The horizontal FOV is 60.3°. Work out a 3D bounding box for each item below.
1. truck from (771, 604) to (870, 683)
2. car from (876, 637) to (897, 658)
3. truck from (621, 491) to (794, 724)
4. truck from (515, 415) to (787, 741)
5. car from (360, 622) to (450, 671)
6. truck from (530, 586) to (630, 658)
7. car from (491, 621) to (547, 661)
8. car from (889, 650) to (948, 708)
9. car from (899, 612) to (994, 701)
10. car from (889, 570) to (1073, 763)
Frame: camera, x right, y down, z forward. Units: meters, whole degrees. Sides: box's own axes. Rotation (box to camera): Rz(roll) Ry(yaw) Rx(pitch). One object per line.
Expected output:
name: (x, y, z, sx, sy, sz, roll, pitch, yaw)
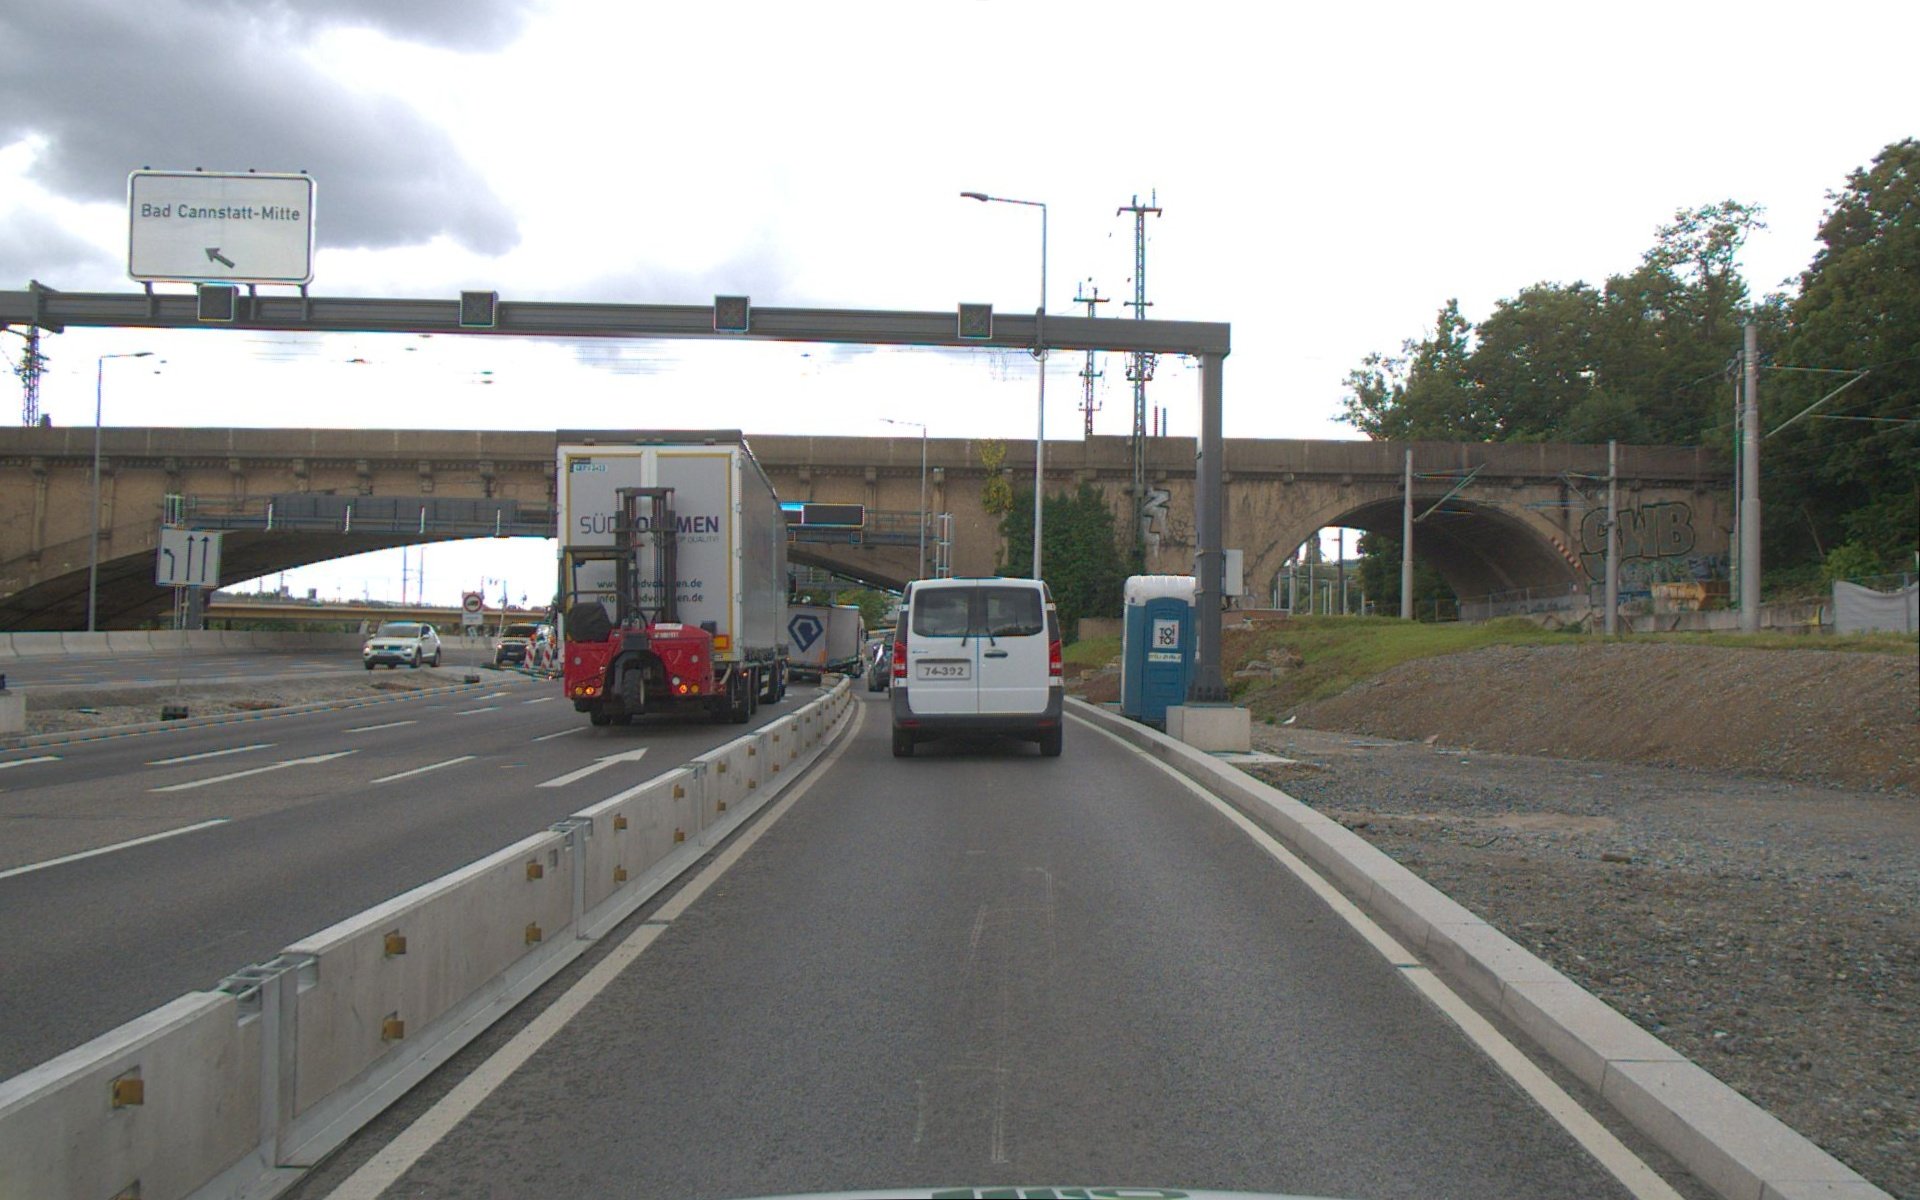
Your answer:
truck: (-7.586, 2.446, 92.754, 3.248, 3.876, 16.596, 3, -2, 3)
car: (-7.498, 4.852, 168.821, 1.953, 2.049, 3.998, 1, -1, -1)
truck: (-5.217, 0.137, 36.175, 2.929, 4.249, 11.228, -1, 0, -5)
truck: (-4.466, -0.226, 26.142, 2.860, 4.087, 10.193, -1, -1, -3)
car: (-19.765, 1.640, 59.044, 1.763, 1.691, 4.287, 0, -1, -1)
truck: (-23.429, 1.426, 103.024, 2.839, 4.133, 13.988, 0, -1, 1)
car: (-20.807, 1.935, 78.129, 1.789, 1.839, 3.798, 1, -1, -4)
car: (-1.182, 2.237, 46.255, 1.471, 1.495, 3.395, 2, -4, -4)
car: (-0.320, 1.108, 32.896, 1.714, 1.654, 3.842, 0, -2, -3)
car: (0.276, 0.687, 19.176, 1.837, 1.924, 4.754, 1, 0, 1)
